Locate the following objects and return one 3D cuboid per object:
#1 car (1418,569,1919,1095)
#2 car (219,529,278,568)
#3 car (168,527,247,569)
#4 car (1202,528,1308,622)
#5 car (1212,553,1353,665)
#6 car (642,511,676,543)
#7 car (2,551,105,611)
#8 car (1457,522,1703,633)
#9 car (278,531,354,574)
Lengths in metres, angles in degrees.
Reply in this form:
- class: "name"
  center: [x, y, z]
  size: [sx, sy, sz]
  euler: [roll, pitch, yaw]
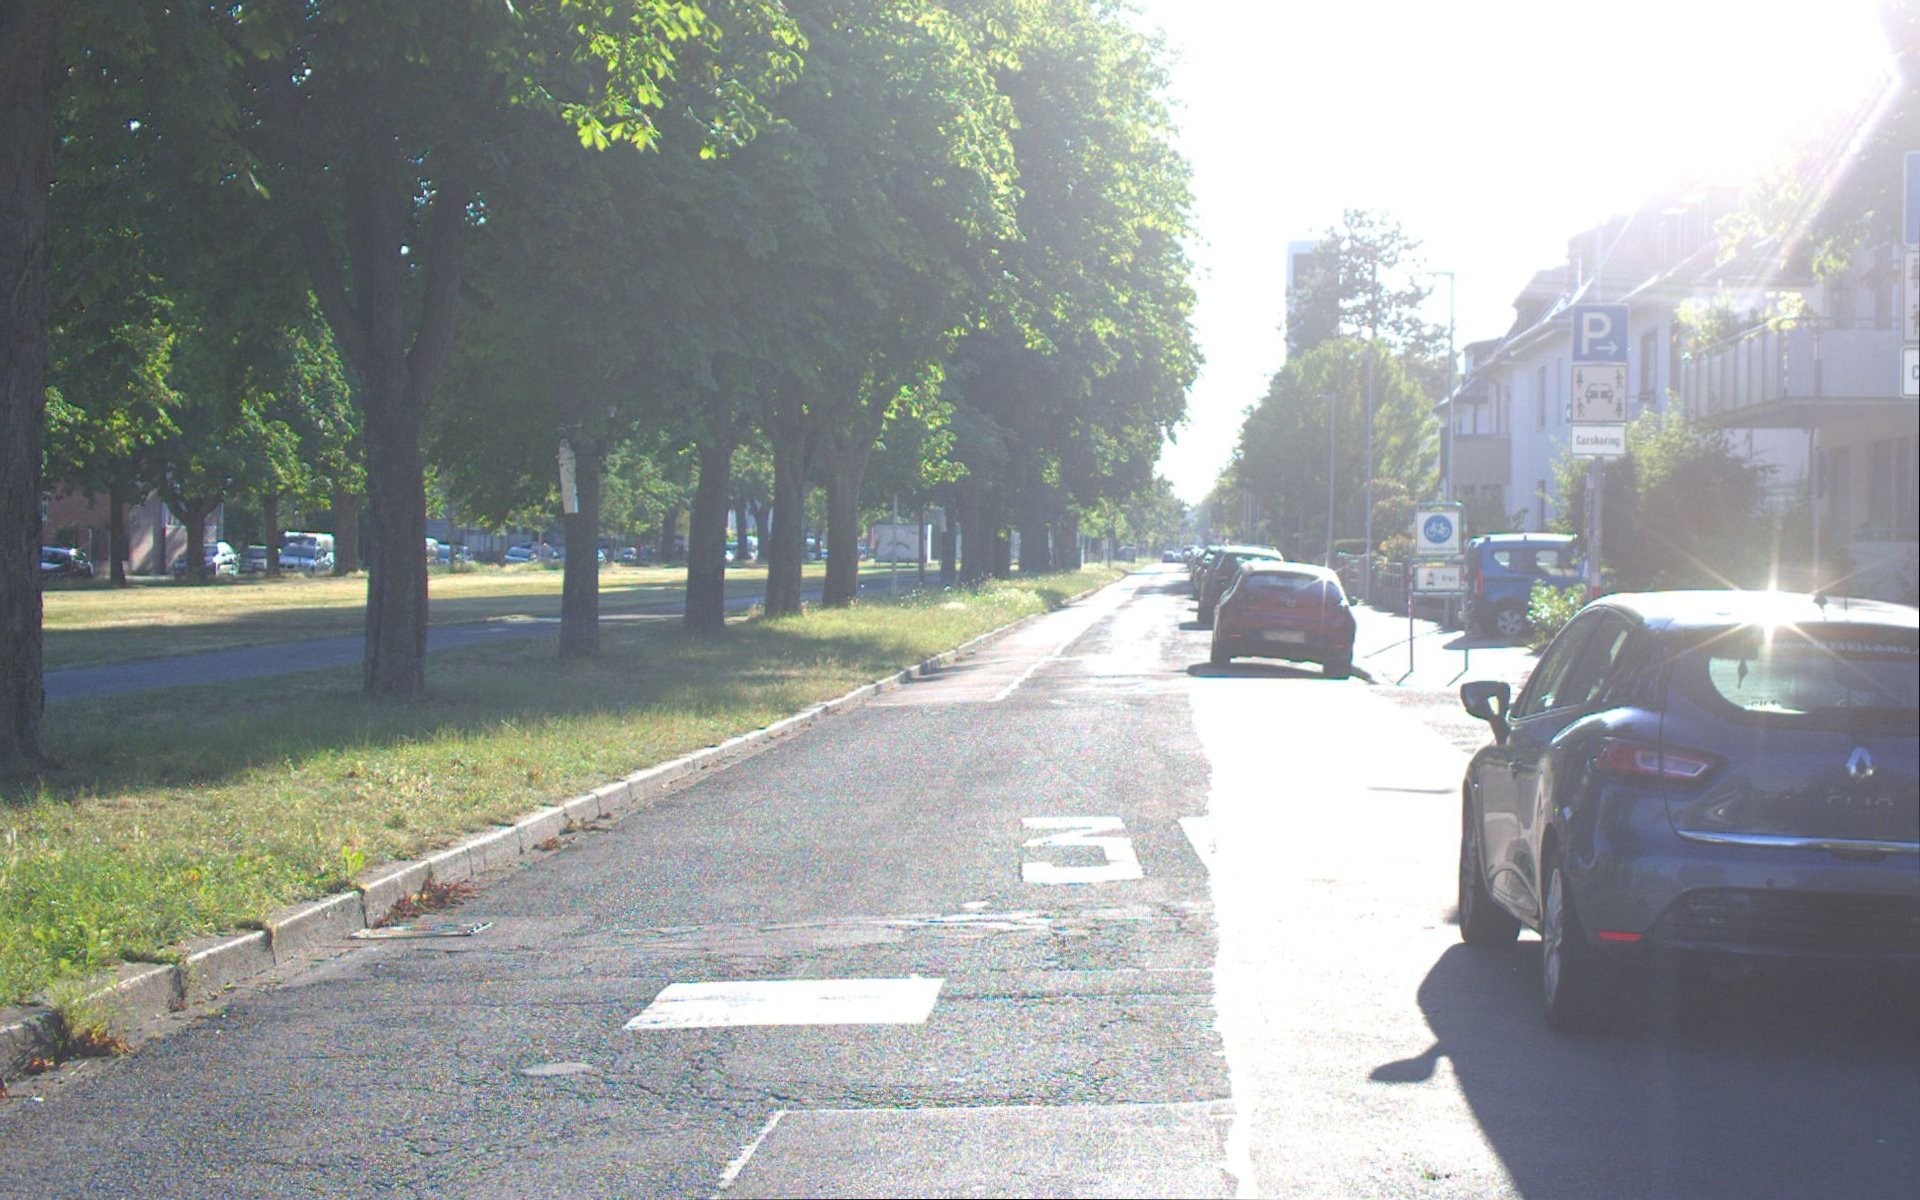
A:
- class: "car"
  center: [2.788, 0.688, 12.594]
  size: [1.726, 1.505, 4.540]
  euler: [2, 1, 2]
- class: "car"
  center: [-31.616, -2.298, 152.873]
  size: [1.639, 1.637, 3.854]
  euler: [2, 1, 2]
- class: "car"
  center: [-31.716, -2.186, 144.953]
  size: [1.994, 1.653, 4.354]
  euler: [2, 1, 5]
- class: "car"
  center: [6.116, -0.556, 71.754]
  size: [1.994, 1.775, 4.000]
  euler: [2, 2, 3]
- class: "car"
  center: [4.270, 0.091, 46.000]
  size: [1.710, 1.355, 4.202]
  euler: [2, 1, 4]
- class: "car"
  center: [-19.643, -4.759, 224.702]
  size: [1.654, 1.931, 3.567]
  euler: [2, 0, 3]
- class: "car"
  center: [-28.561, -0.620, 108.417]
  size: [1.812, 1.775, 4.122]
  euler: [2, 1, 4]
- class: "car"
  center: [10.944, -0.389, 60.872]
  size: [3.987, 1.816, 1.760]
  euler: [0, -4, 0]
- class: "car"
  center: [-26.059, -1.921, 139.232]
  size: [2.023, 1.653, 3.983]
  euler: [2, 1, 4]
